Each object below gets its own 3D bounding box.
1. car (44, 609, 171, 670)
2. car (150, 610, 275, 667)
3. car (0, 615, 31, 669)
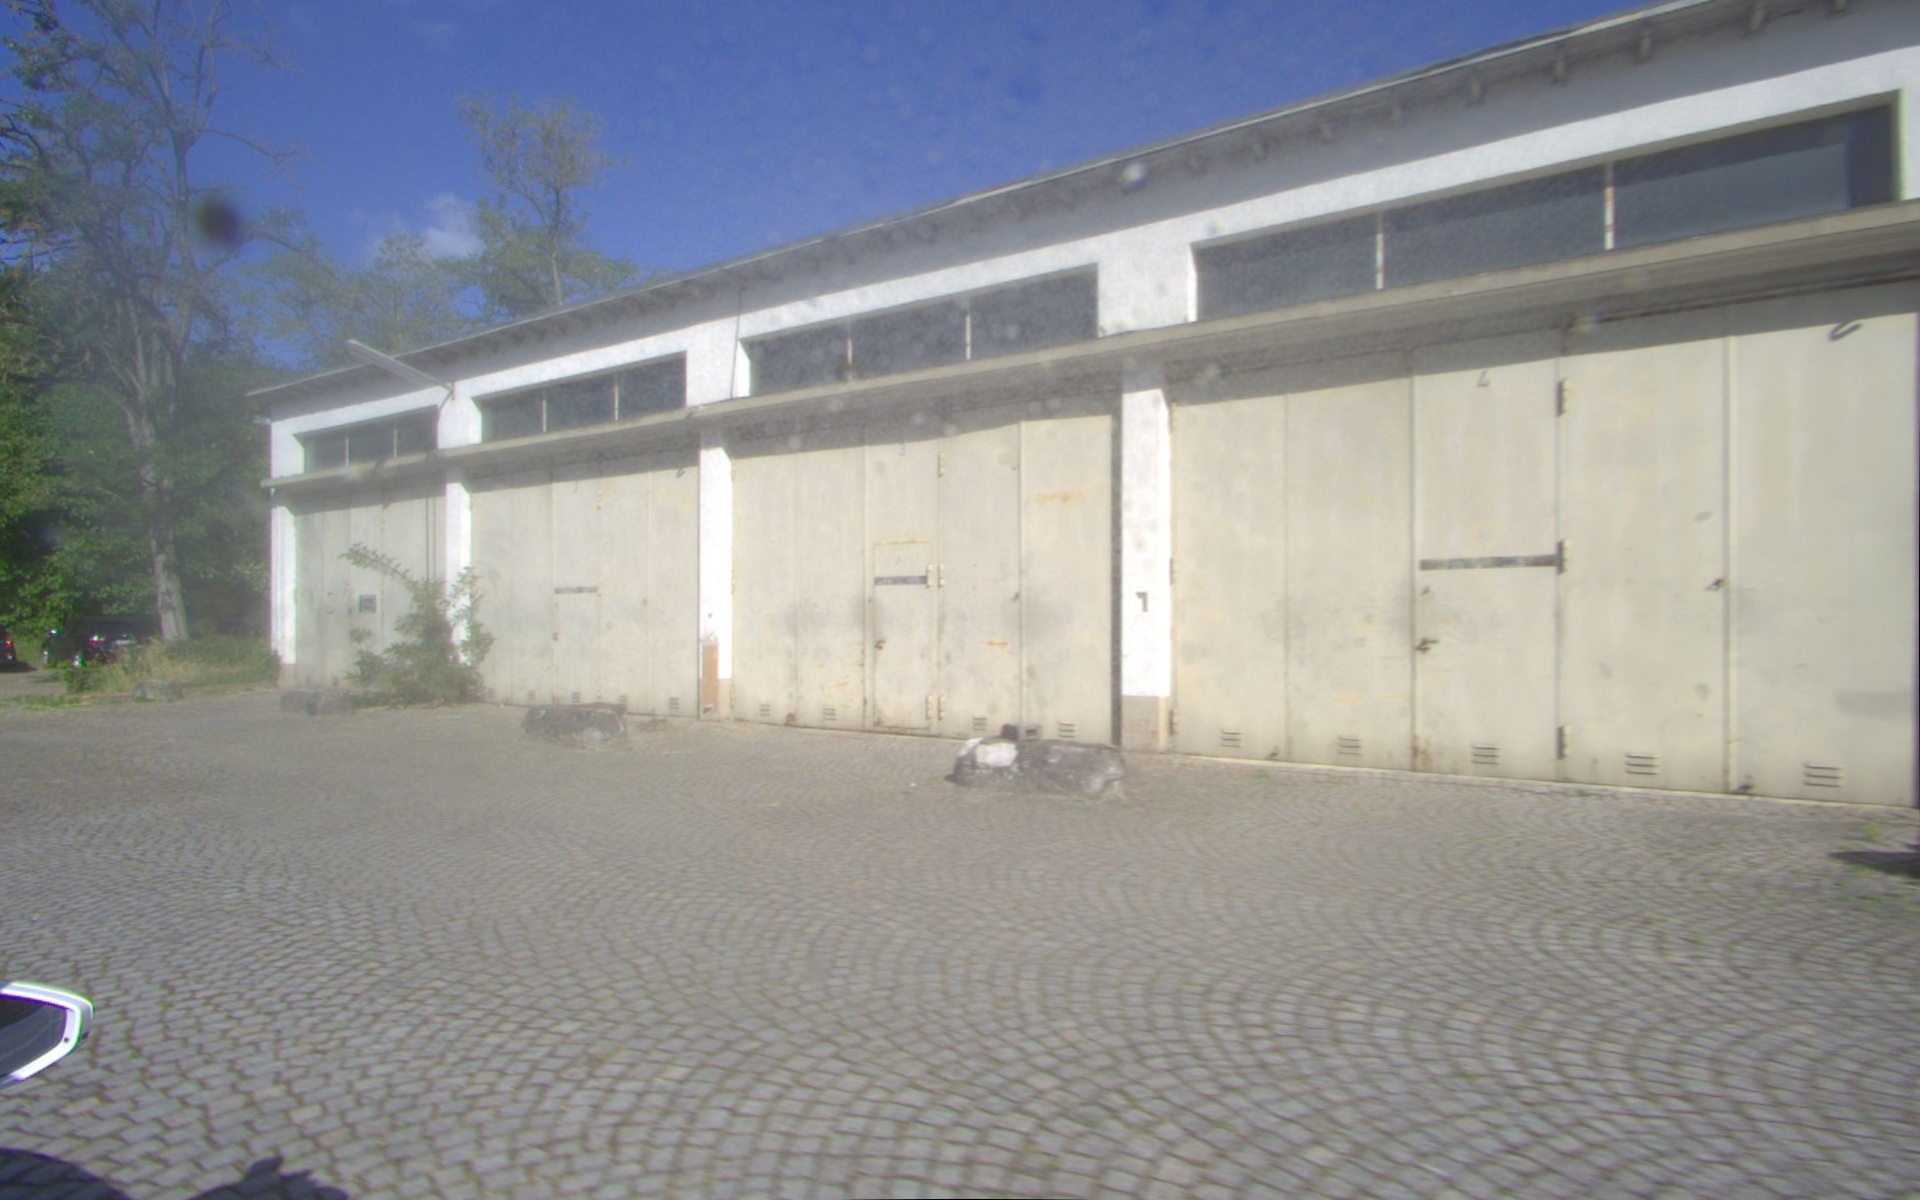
[{"bbox_3d":[-26.938,1.207,31.618,4.211,1.652,1.871,2,-1,33],"label":"car"},{"bbox_3d":[-25.592,1.285,34.248,4.206,1.610,1.822,4,1,29],"label":"car"},{"bbox_3d":[-28.779,1.185,29.363,3.678,1.469,1.732,1,-1,39],"label":"car"}]
